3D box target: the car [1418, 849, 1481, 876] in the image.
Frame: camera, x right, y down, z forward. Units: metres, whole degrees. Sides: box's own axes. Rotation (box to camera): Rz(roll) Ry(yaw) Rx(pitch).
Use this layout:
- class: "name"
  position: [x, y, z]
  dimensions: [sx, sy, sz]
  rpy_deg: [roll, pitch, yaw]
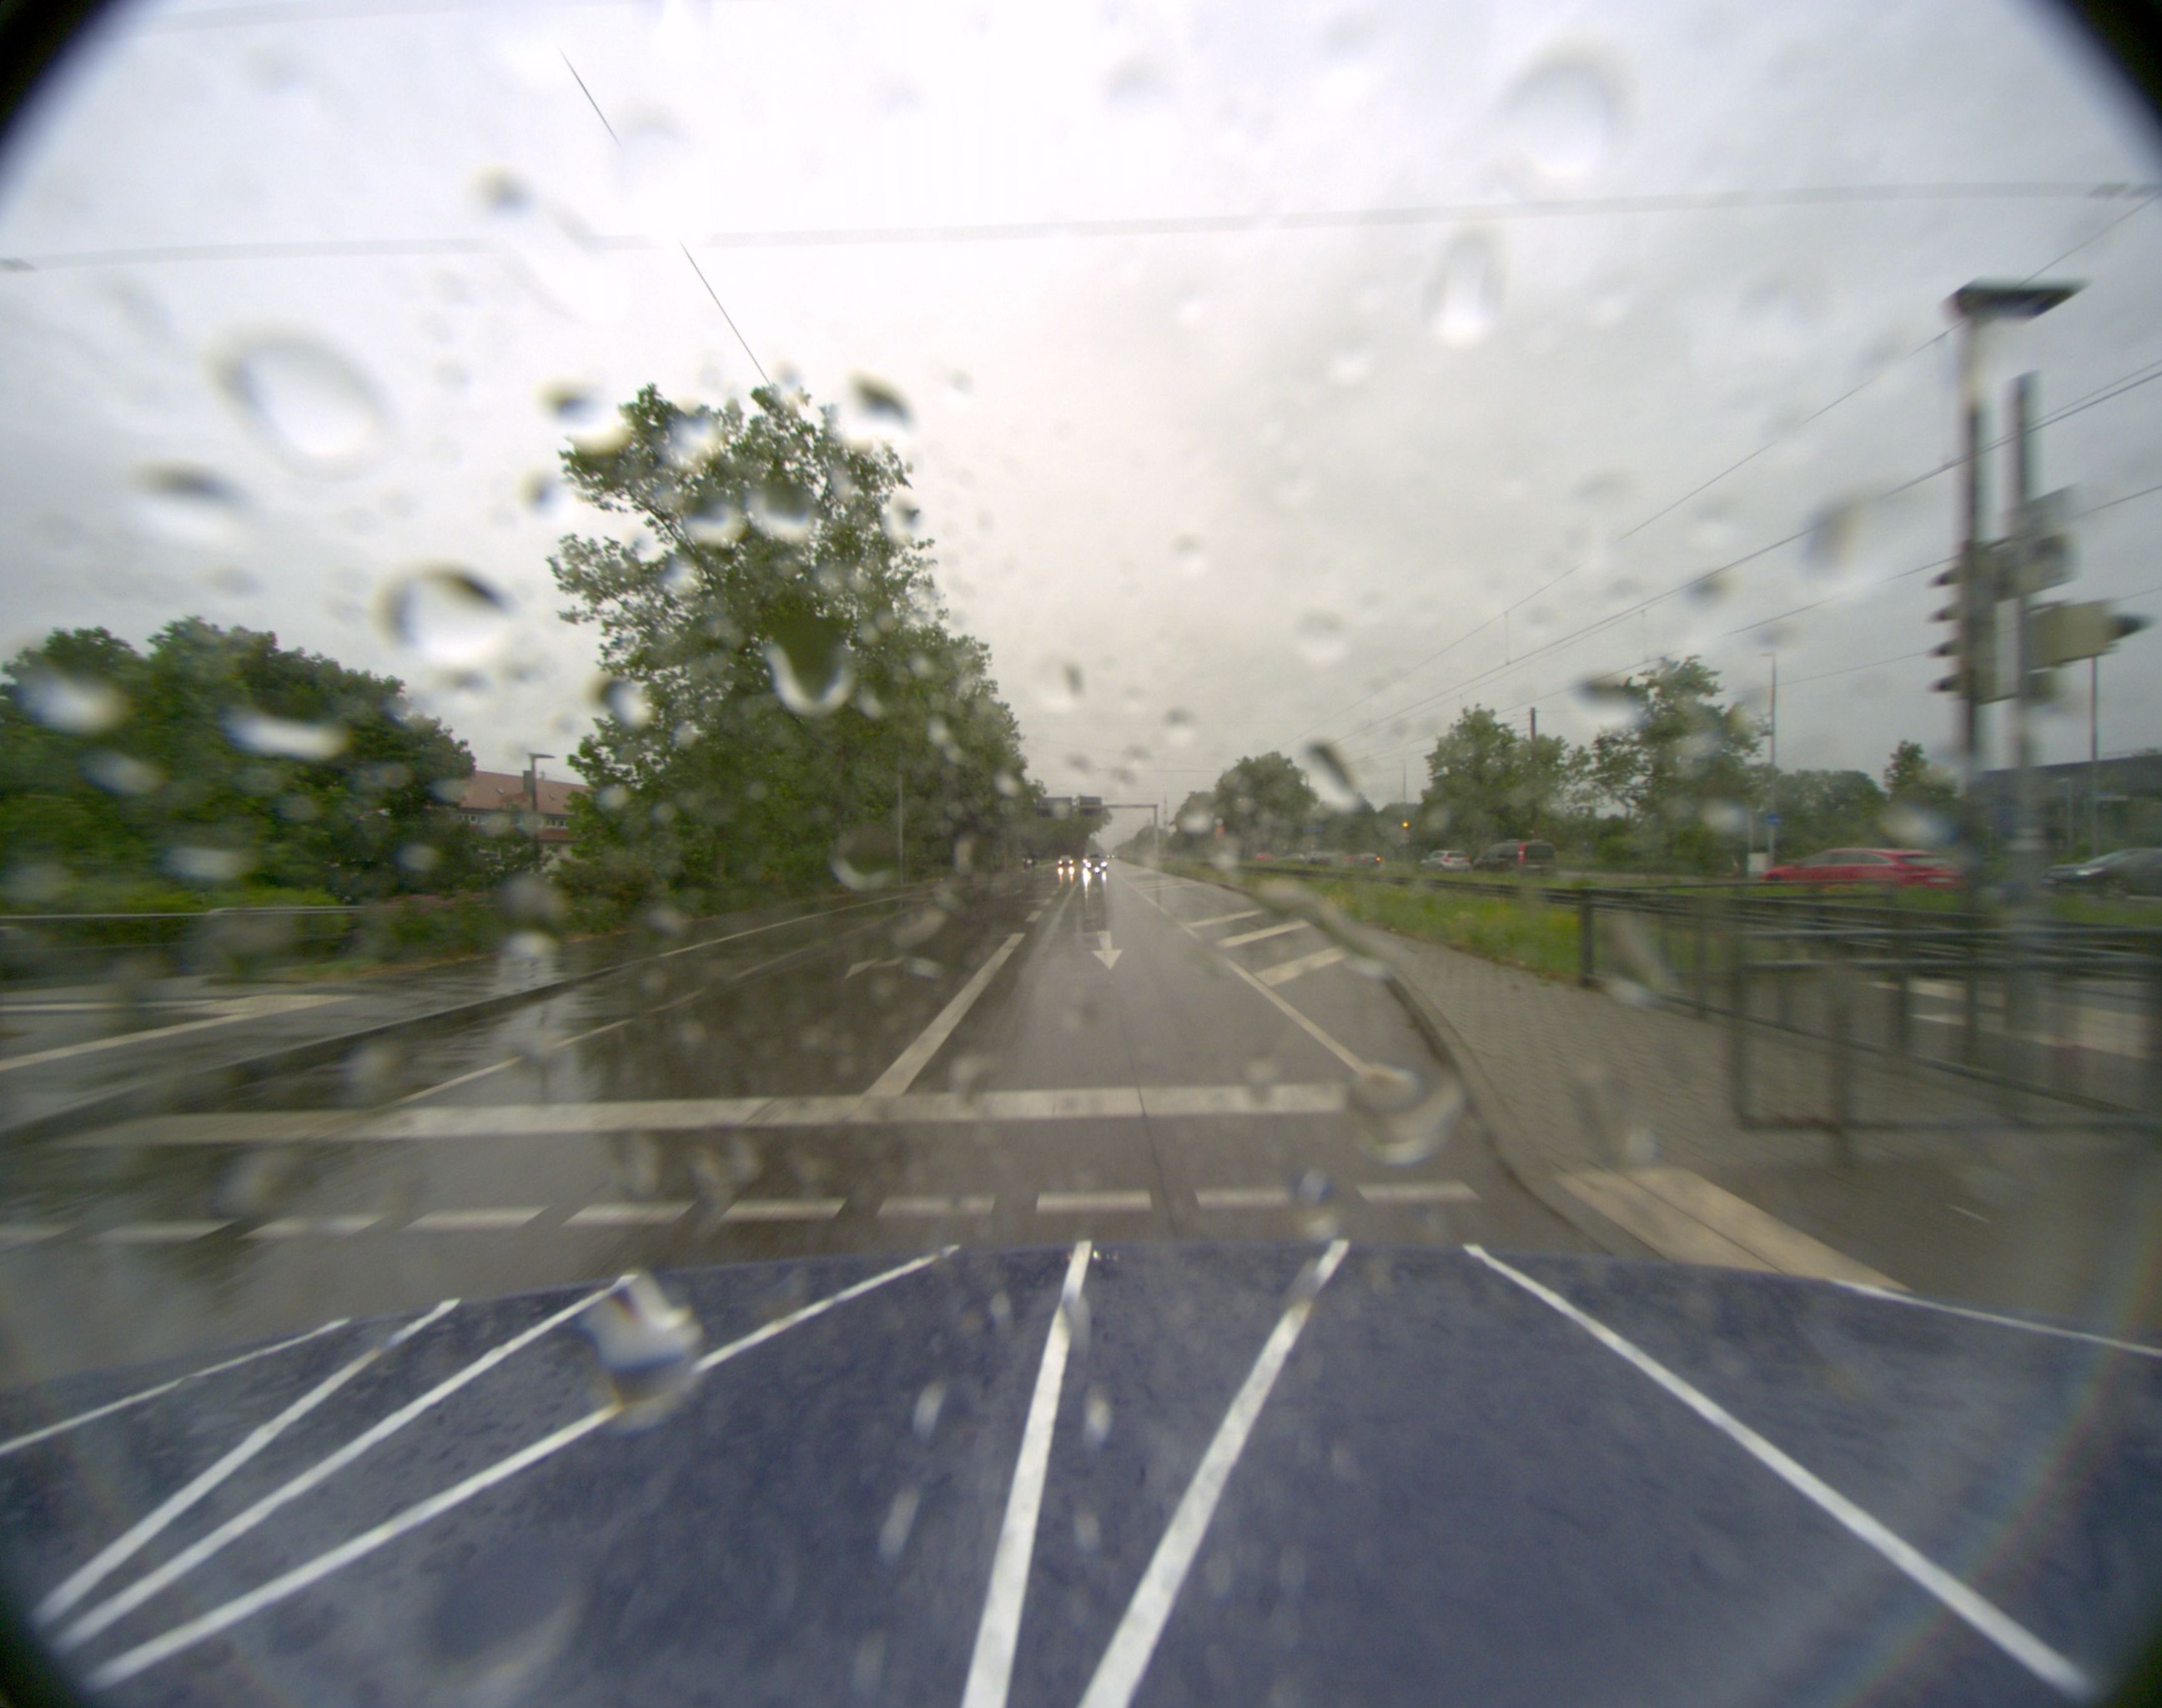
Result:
- class: "car"
  position: [23.147, 0.478, 47.910]
  dimensions: [1.998, 1.586, 4.094]
  rpy_deg: [-1, 0, 1]

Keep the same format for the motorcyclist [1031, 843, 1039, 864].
- class: "motorcyclist"
  position: [-5.089, -0.079, 84.741]
  dimensions: [0.762, 2.246, 0.915]
  rpy_deg: [-2, 1, 1]

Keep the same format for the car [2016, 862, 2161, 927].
- class: "car"
  position: [32.275, 1.224, 23.345]
  dimensions: [3.991, 1.849, 2.003]
  rpy_deg: [-1, 1, 21]

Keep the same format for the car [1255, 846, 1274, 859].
- class: "car"
  position: [23.065, -0.197, 95.578]
  dimensions: [1.606, 1.580, 3.619]
  rpy_deg: [-2, 1, 1]

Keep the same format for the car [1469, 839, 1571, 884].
- class: "car"
  position: [18.986, 0.296, 33.089]
  dimensions: [1.998, 1.761, 4.257]
  rpy_deg: [-2, 1, 1]

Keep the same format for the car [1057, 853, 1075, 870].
- class: "car"
  position: [-1.926, 0.928, 95.301]
  dimensions: [1.999, 2.002, 3.998]
  rpy_deg: [-1, 1, -3]

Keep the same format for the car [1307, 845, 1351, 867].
- class: "car"
  position: [19.406, 0.126, 59.667]
  dimensions: [1.998, 1.586, 4.381]
  rpy_deg: [3, 0, 1]

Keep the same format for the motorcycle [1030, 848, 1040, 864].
- class: "motorcycle"
  position: [-5.089, 0.215, 84.757]
  dimensions: [0.845, 1.710, 2.586]
  rpy_deg: [-2, 1, 1]

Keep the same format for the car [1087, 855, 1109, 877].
- class: "car"
  position: [1.622, 1.128, 72.138]
  dimensions: [1.998, 2.002, 4.000]
  rpy_deg: [-1, 1, 2]

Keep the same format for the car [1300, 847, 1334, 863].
- class: "car"
  position: [22.969, 0.062, 74.129]
  dimensions: [1.998, 1.477, 4.298]
  rpy_deg: [-1, 1, 0]

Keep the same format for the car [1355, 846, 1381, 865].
- class: "car"
  position: [27.351, 0.129, 72.479]
  dimensions: [1.996, 1.671, 4.544]
  rpy_deg: [-1, 1, 16]

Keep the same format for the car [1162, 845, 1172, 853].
- class: "car"
  position: [23.151, -1.314, 204.416]
  dimensions: [1.975, 2.002, 4.519]
  rpy_deg: [-1, 1, -2]

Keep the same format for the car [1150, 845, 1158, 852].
- class: "car"
  position: [20.332, -1.548, 212.777]
  dimensions: [1.998, 2.002, 4.000]
  rpy_deg: [-1, 1, 2]

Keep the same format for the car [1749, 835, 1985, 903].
- class: "car"
  position: [22.112, 0.363, 21.717]
  dimensions: [1.998, 1.697, 4.624]
  rpy_deg: [-2, 1, 1]
